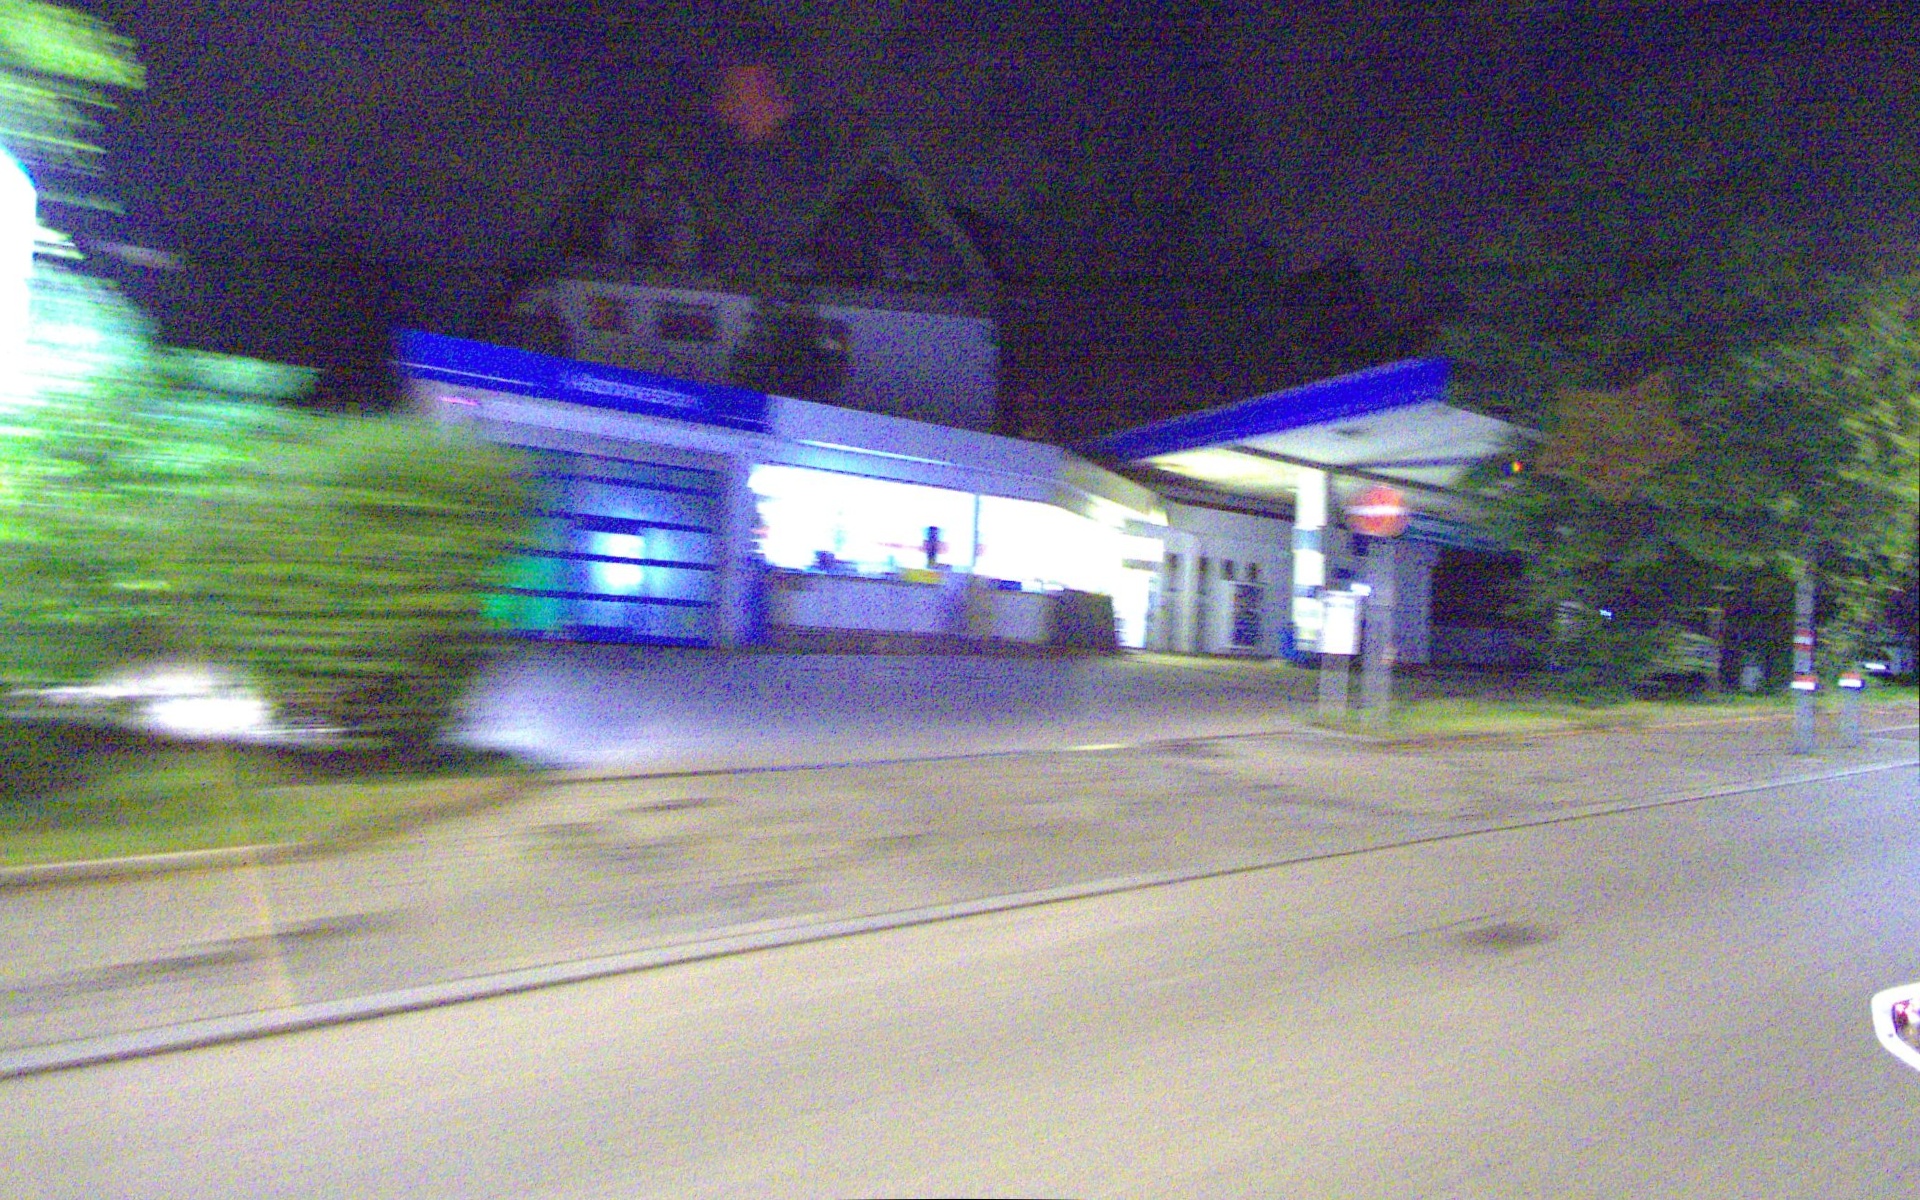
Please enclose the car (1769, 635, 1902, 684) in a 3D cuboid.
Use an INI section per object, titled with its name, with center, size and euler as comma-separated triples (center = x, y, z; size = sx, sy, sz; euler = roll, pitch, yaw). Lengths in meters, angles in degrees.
[car]
center = 29.978, 2.014, 34.511
size = 1.758, 1.472, 3.268
euler = 2, -1, 3
